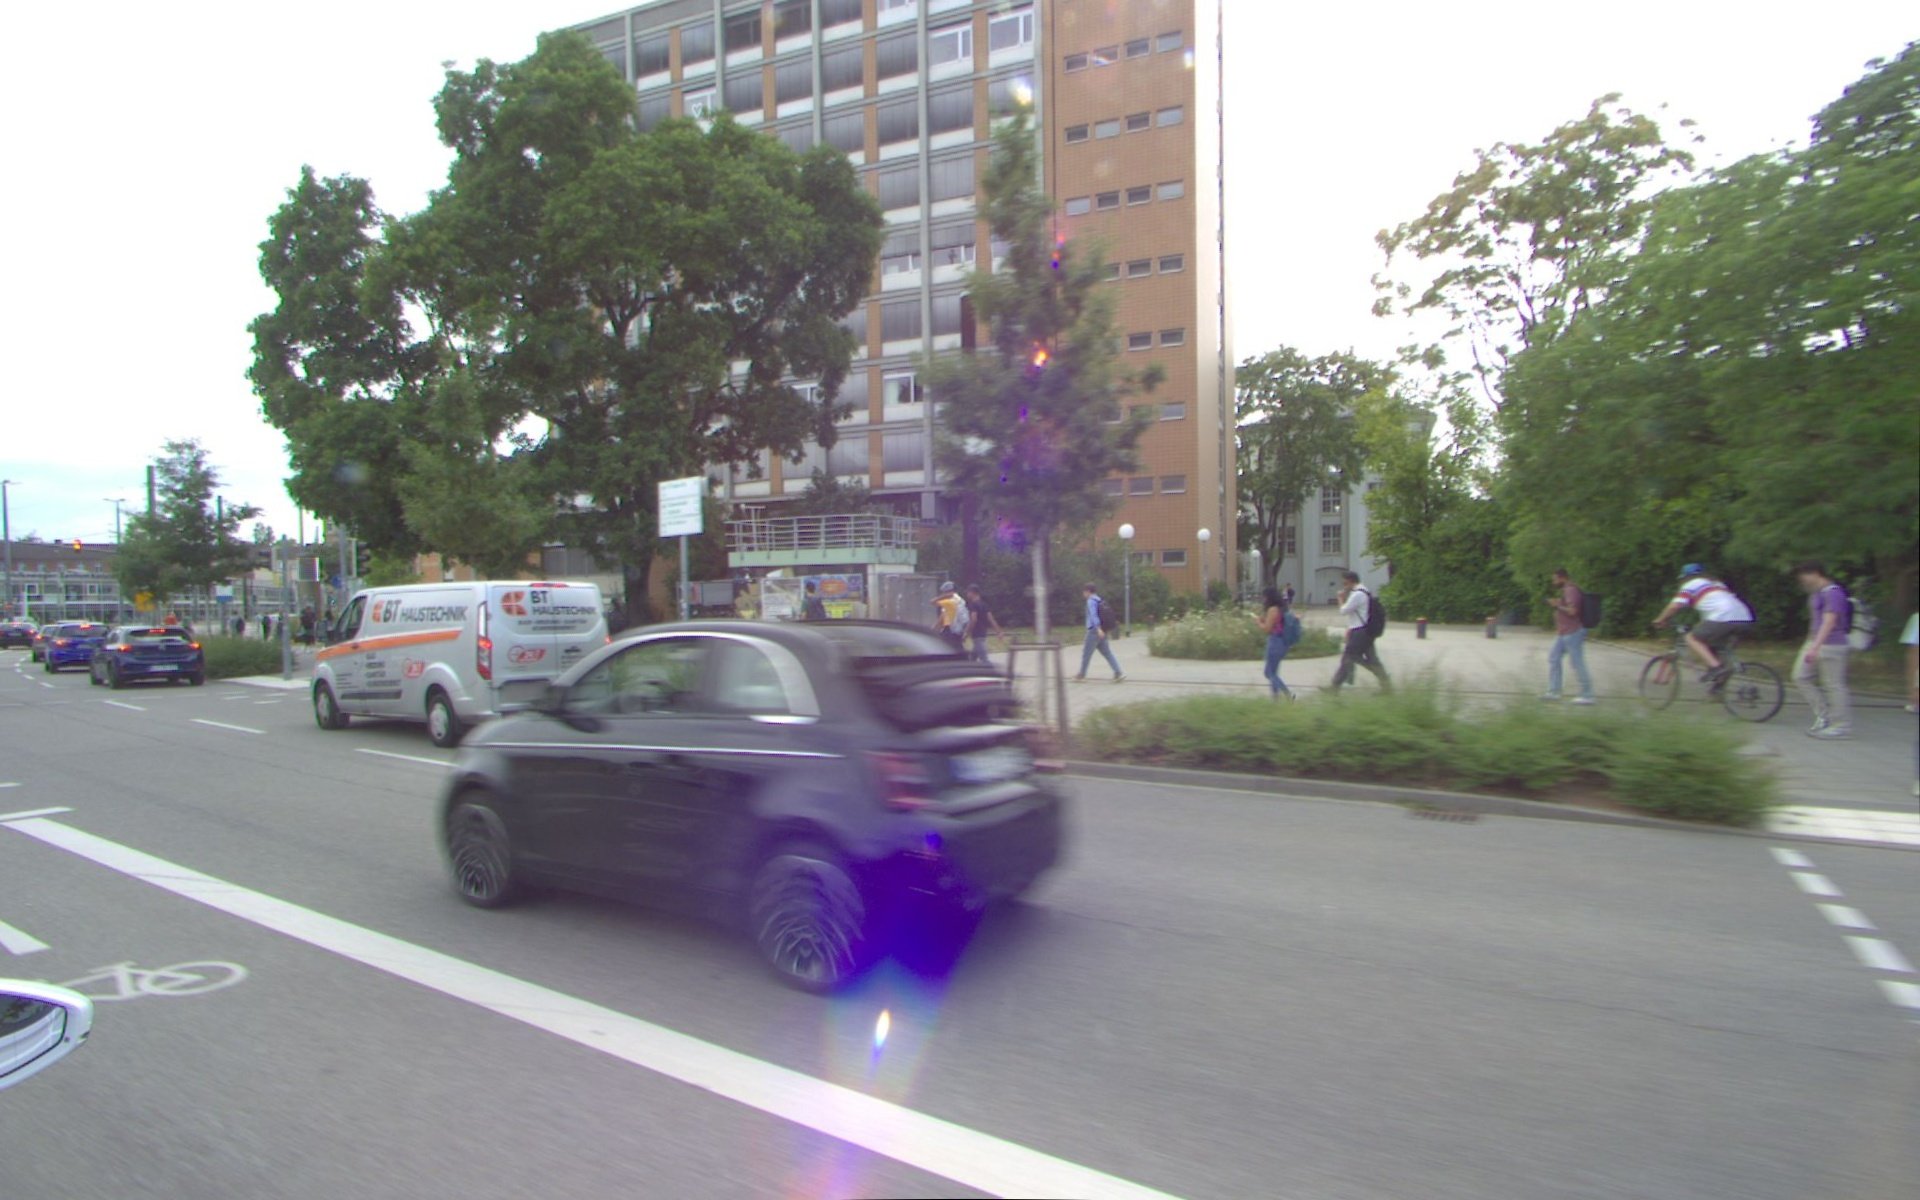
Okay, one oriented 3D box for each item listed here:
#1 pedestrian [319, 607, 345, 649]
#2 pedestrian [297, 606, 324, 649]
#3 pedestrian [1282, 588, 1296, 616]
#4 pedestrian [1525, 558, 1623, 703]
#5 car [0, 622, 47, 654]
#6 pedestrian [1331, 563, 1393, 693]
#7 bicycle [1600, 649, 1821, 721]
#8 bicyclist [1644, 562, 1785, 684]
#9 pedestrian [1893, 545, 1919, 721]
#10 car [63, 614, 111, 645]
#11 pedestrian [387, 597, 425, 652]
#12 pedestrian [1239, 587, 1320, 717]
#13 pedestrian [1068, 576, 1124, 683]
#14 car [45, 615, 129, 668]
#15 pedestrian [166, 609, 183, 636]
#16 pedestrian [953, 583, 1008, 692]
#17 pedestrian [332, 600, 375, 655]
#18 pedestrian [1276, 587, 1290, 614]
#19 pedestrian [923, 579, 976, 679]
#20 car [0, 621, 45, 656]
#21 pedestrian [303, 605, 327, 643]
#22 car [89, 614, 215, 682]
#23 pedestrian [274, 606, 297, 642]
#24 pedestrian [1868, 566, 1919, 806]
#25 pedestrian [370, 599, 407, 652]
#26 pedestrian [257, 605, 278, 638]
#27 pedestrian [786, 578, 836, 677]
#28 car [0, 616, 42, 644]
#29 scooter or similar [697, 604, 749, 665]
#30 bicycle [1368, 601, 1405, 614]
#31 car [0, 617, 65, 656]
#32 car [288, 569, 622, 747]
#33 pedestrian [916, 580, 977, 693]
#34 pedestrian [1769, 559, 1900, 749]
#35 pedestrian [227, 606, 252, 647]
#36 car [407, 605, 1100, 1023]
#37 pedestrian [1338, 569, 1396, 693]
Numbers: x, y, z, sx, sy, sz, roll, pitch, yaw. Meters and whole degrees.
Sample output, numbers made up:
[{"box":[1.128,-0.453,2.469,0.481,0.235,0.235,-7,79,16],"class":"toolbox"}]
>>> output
[{"box":[-24.627,1.091,39.271,0.770,1.595,0.806,-3,2,-37],"class":"pedestrian"},{"box":[-24.826,1.044,38.256,0.770,1.595,0.806,-3,2,-37],"class":"pedestrian"},{"box":[20.471,0.132,62.248,0.631,1.733,0.704,-1,0,35],"class":"pedestrian"},{"box":[7.688,0.380,12.580,0.998,1.733,0.836,-1,-1,30],"class":"pedestrian"},{"box":[-44.004,1.785,46.961,1.699,1.438,3.964,1,-2,-42],"class":"car"},{"box":[5.569,0.391,13.866,0.698,1.733,0.637,-1,-1,30],"class":"pedestrian"},{"box":[8.460,0.930,11.377,0.831,0.702,1.837,1,-2,-27],"class":"bicycle"},{"box":[8.477,0.267,11.273,0.827,1.293,1.008,0,-1,-28],"class":"bicyclist"},{"box":[10.530,0.351,10.580,0.788,1.831,0.836,-1,-1,30],"class":"pedestrian"},{"box":[-42.704,1.449,48.949,1.692,1.438,3.667,1,-2,-42],"class":"car"},{"box":[-17.701,0.787,32.005,0.800,1.733,0.777,-1,-1,30],"class":"pedestrian"},{"box":[4.068,0.638,12.728,0.788,1.564,0.835,-1,3,30],"class":"pedestrian"},{"box":[2.281,0.487,16.763,0.698,1.734,0.636,-1,2,30],"class":"pedestrian"},{"box":[-27.436,1.290,31.420,1.845,1.552,3.965,1,-2,-43],"class":"car"},{"box":[-48.773,1.381,62.189,0.770,1.595,0.806,-3,2,-37],"class":"pedestrian"},{"box":[0.337,0.617,16.444,0.698,1.733,0.637,-1,-1,30],"class":"pedestrian"},{"box":[-19.488,0.887,32.174,1.013,1.733,0.777,-1,-1,30],"class":"pedestrian"},{"box":[20.514,0.037,63.575,0.631,1.733,0.704,-1,0,35],"class":"pedestrian"},{"box":[-0.176,0.501,17.787,0.698,1.733,0.637,-1,0,30],"class":"pedestrian"},{"box":[-40.202,1.644,42.722,1.699,1.438,3.964,1,-2,-42],"class":"car"},{"box":[-27.994,1.034,43.434,0.770,1.595,0.806,-3,2,-37],"class":"pedestrian"},{"box":[-19.414,1.124,24.020,3.590,1.527,1.659,-1,-2,39],"class":"car"},{"box":[-30.489,1.063,45.255,0.770,1.595,0.806,-3,2,-37],"class":"pedestrian"},{"box":[7.388,0.629,7.420,0.828,1.733,0.796,-1,-1,33],"class":"pedestrian"},{"box":[-19.157,0.866,33.552,0.800,1.733,0.777,-1,-1,30],"class":"pedestrian"},{"box":[-35.095,1.079,50.735,0.770,1.595,0.806,-3,2,-37],"class":"pedestrian"},{"box":[-2.898,0.528,19.477,0.698,1.877,0.637,-1,1,30],"class":"pedestrian"},{"box":[-50.476,1.613,53.777,1.699,1.438,3.964,1,-2,-42],"class":"car"},{"box":[-5.454,0.791,23.035,1.127,1.388,0.398,0,-1,18],"class":"scooter or similar"},{"box":[24.191,0.409,56.824,1.821,0.703,0.648,-1,-2,36],"class":"bicycle"},{"box":[-36.328,1.407,39.029,2.118,1.438,3.667,1,-2,-42],"class":"car"},{"box":[-6.878,0.716,13.398,5.136,1.984,1.814,-1,-2,35],"class":"car"},{"box":[-0.210,0.559,15.840,0.698,1.734,0.637,-1,1,30],"class":"pedestrian"},{"box":[8.446,0.512,9.712,0.788,1.733,0.836,-1,-1,30],"class":"pedestrian"},{"box":[-29.188,1.072,40.570,0.770,1.595,0.806,-3,2,-37],"class":"pedestrian"},{"box":[-1.164,0.815,5.253,3.393,1.509,1.662,-1,-1,33],"class":"car"},{"box":[5.881,0.443,14.462,0.698,1.733,0.637,-1,-1,30],"class":"pedestrian"}]
